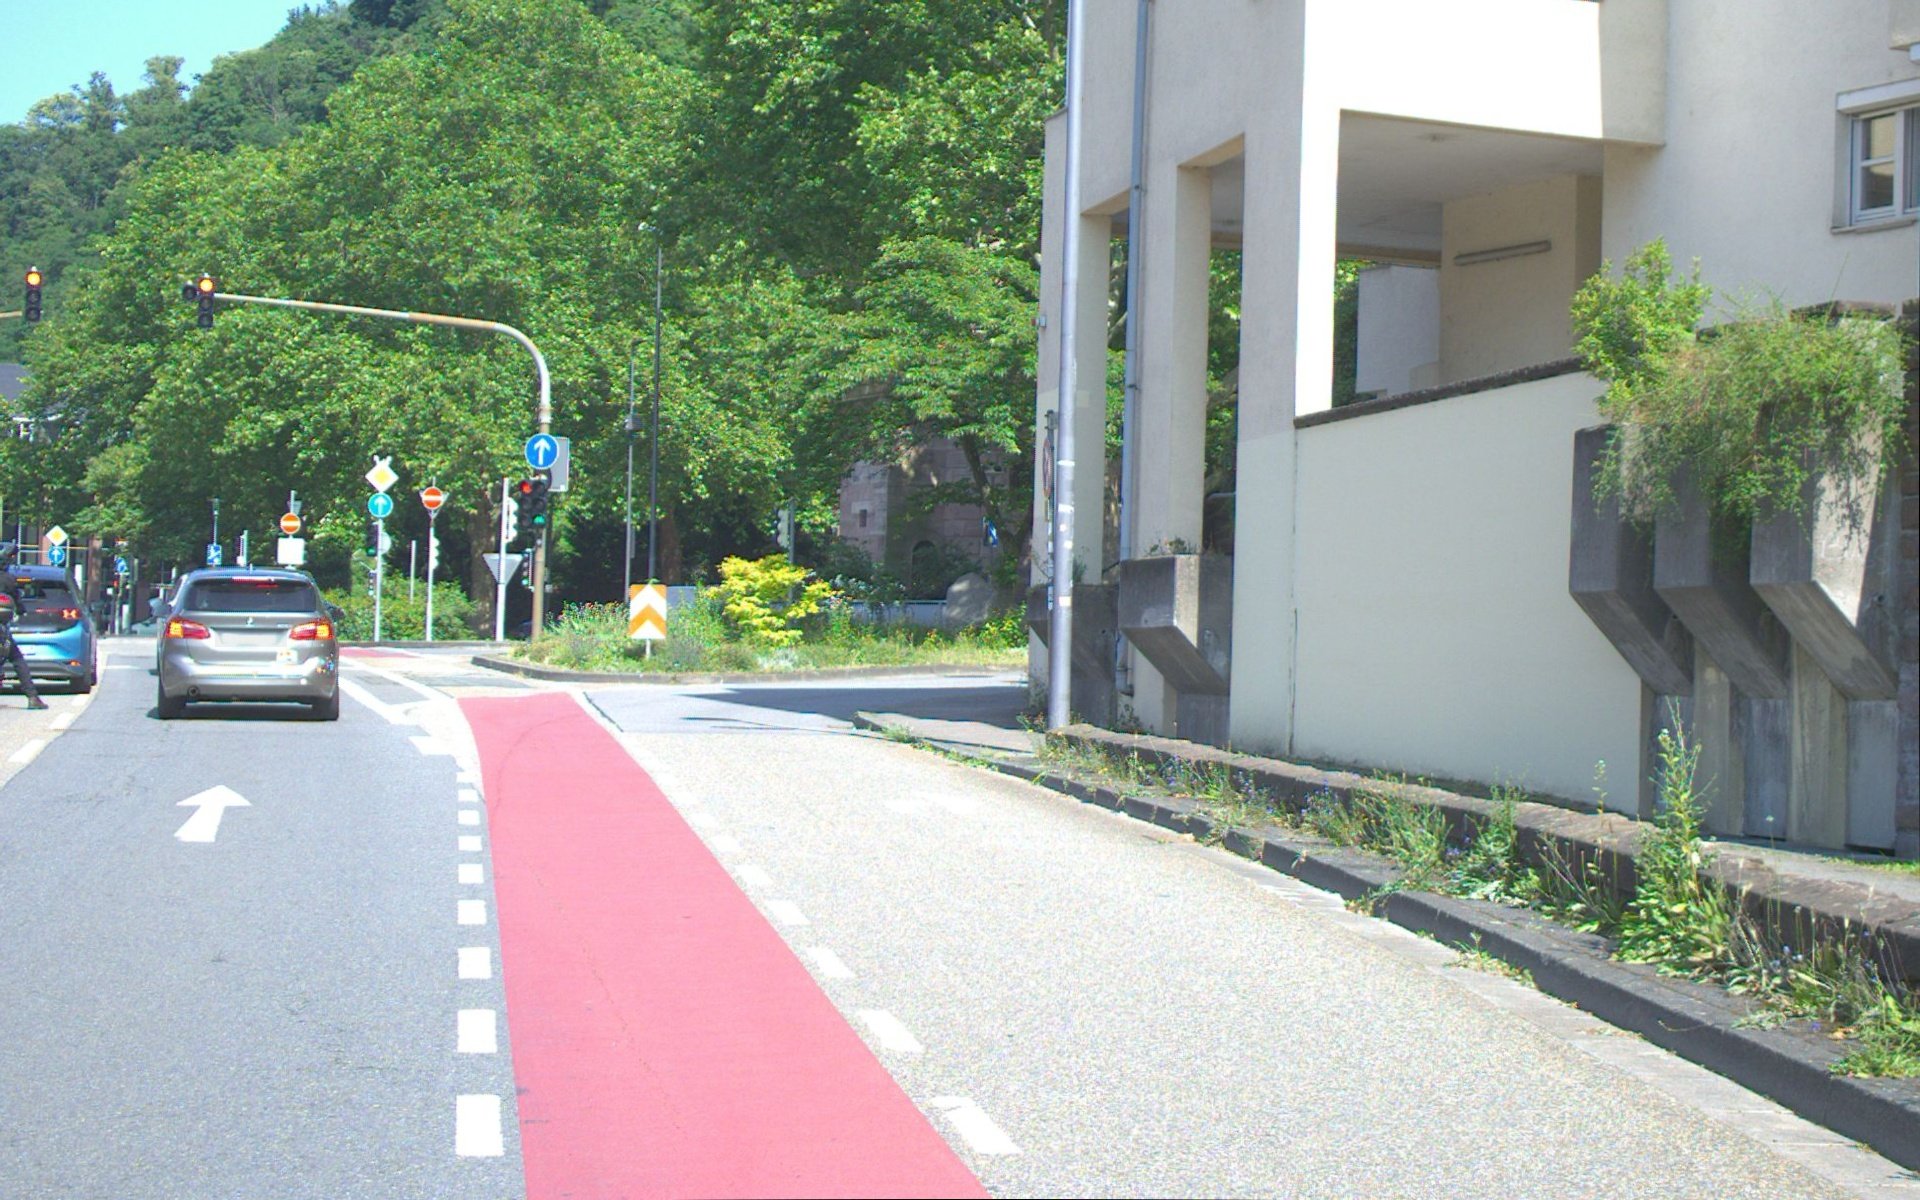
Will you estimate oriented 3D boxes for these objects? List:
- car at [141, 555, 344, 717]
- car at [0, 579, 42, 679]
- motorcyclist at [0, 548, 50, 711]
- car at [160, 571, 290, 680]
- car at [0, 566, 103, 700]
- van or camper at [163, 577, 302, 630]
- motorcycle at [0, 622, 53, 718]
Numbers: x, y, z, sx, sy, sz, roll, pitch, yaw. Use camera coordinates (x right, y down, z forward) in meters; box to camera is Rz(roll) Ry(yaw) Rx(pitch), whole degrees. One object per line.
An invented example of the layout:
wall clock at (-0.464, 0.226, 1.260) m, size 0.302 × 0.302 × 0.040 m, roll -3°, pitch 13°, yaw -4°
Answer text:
car at (-7.437, 0.355, 35.948) m, size 1.888 × 1.516 × 4.307 m, roll 2°, pitch 0°, yaw -10°
car at (-14.316, 0.385, 49.665) m, size 1.866 × 1.354 × 4.001 m, roll 1°, pitch 0°, yaw -13°
motorcyclist at (-10.119, 0.295, 35.930) m, size 1.075 × 1.678 × 1.156 m, roll 1°, pitch 0°, yaw -11°
car at (-10.802, 0.355, 50.624) m, size 1.785 × 1.527 × 4.738 m, roll 0°, pitch 0°, yaw -12°
car at (-11.580, 0.373, 42.379) m, size 1.866 × 1.557 × 4.001 m, roll 1°, pitch 0°, yaw -13°
van or camper at (-26.495, 0.126, 125.274) m, size 4.543 × 1.895 × 2.000 m, roll 0°, pitch 0°, yaw 6°
motorcycle at (-10.155, 0.715, 36.090) m, size 1.037 × 0.916 × 2.606 m, roll 1°, pitch 0°, yaw -11°
